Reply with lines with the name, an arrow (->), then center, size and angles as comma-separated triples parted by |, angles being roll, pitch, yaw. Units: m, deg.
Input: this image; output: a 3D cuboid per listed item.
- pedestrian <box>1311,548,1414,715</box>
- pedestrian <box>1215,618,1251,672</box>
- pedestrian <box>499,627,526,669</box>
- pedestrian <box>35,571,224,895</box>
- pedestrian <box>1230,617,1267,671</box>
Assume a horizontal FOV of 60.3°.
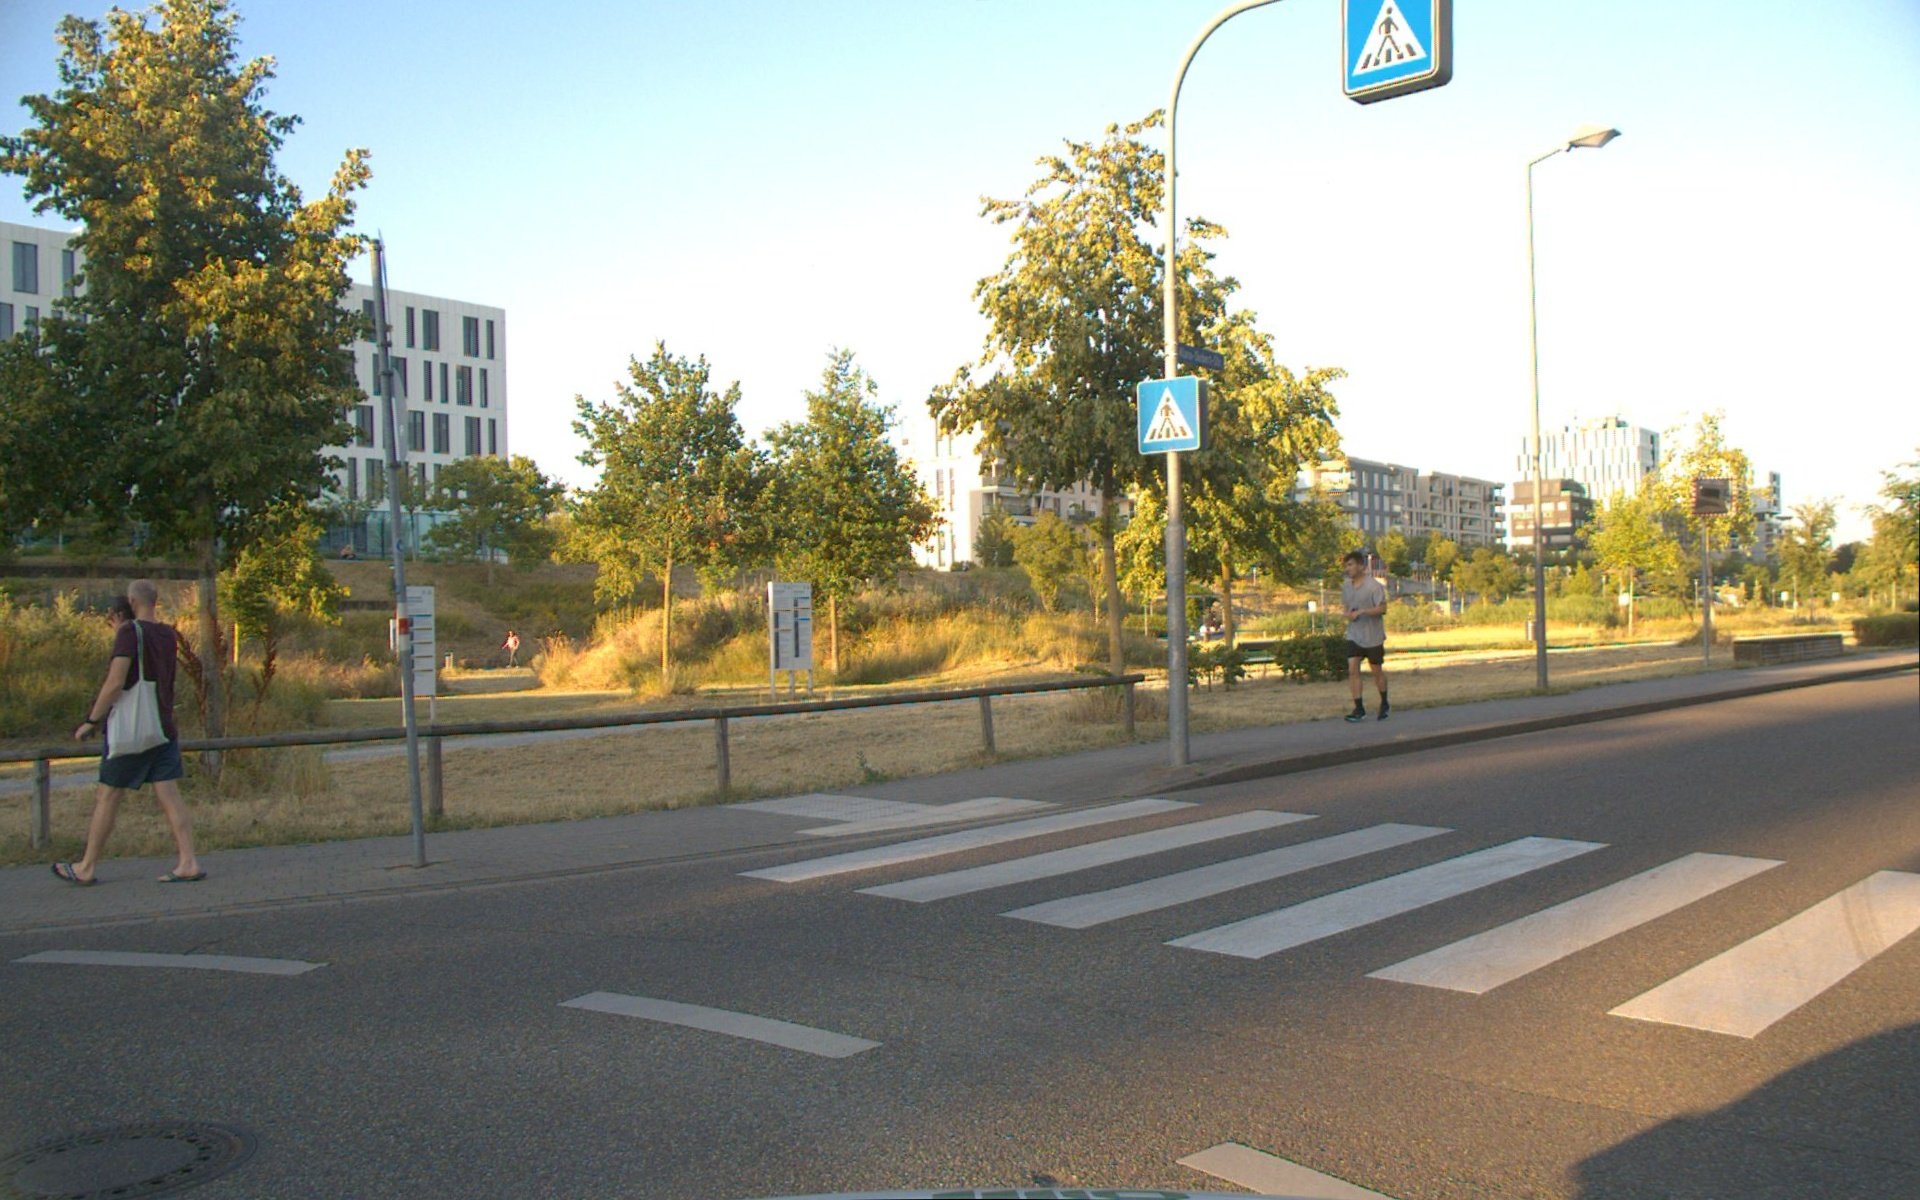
pedestrian -> 4.373, 0.334, 17.961 | 0.796, 1.760, 0.755 | 0, -1, -44
pedestrian -> 5.220, 0.863, 31.632 | 0.490, 1.022, 0.480 | -2, -1, 36
pedestrian -> -19.465, 2.070, 72.001 | 0.820, 1.797, 0.812 | -2, -1, 44
pedestrian -> -4.916, 0.749, 9.796 | 0.787, 1.815, 0.731 | -2, -1, 39
pedestrian -> 5.611, 0.858, 32.179 | 0.490, 1.022, 0.569 | -2, -1, 36
